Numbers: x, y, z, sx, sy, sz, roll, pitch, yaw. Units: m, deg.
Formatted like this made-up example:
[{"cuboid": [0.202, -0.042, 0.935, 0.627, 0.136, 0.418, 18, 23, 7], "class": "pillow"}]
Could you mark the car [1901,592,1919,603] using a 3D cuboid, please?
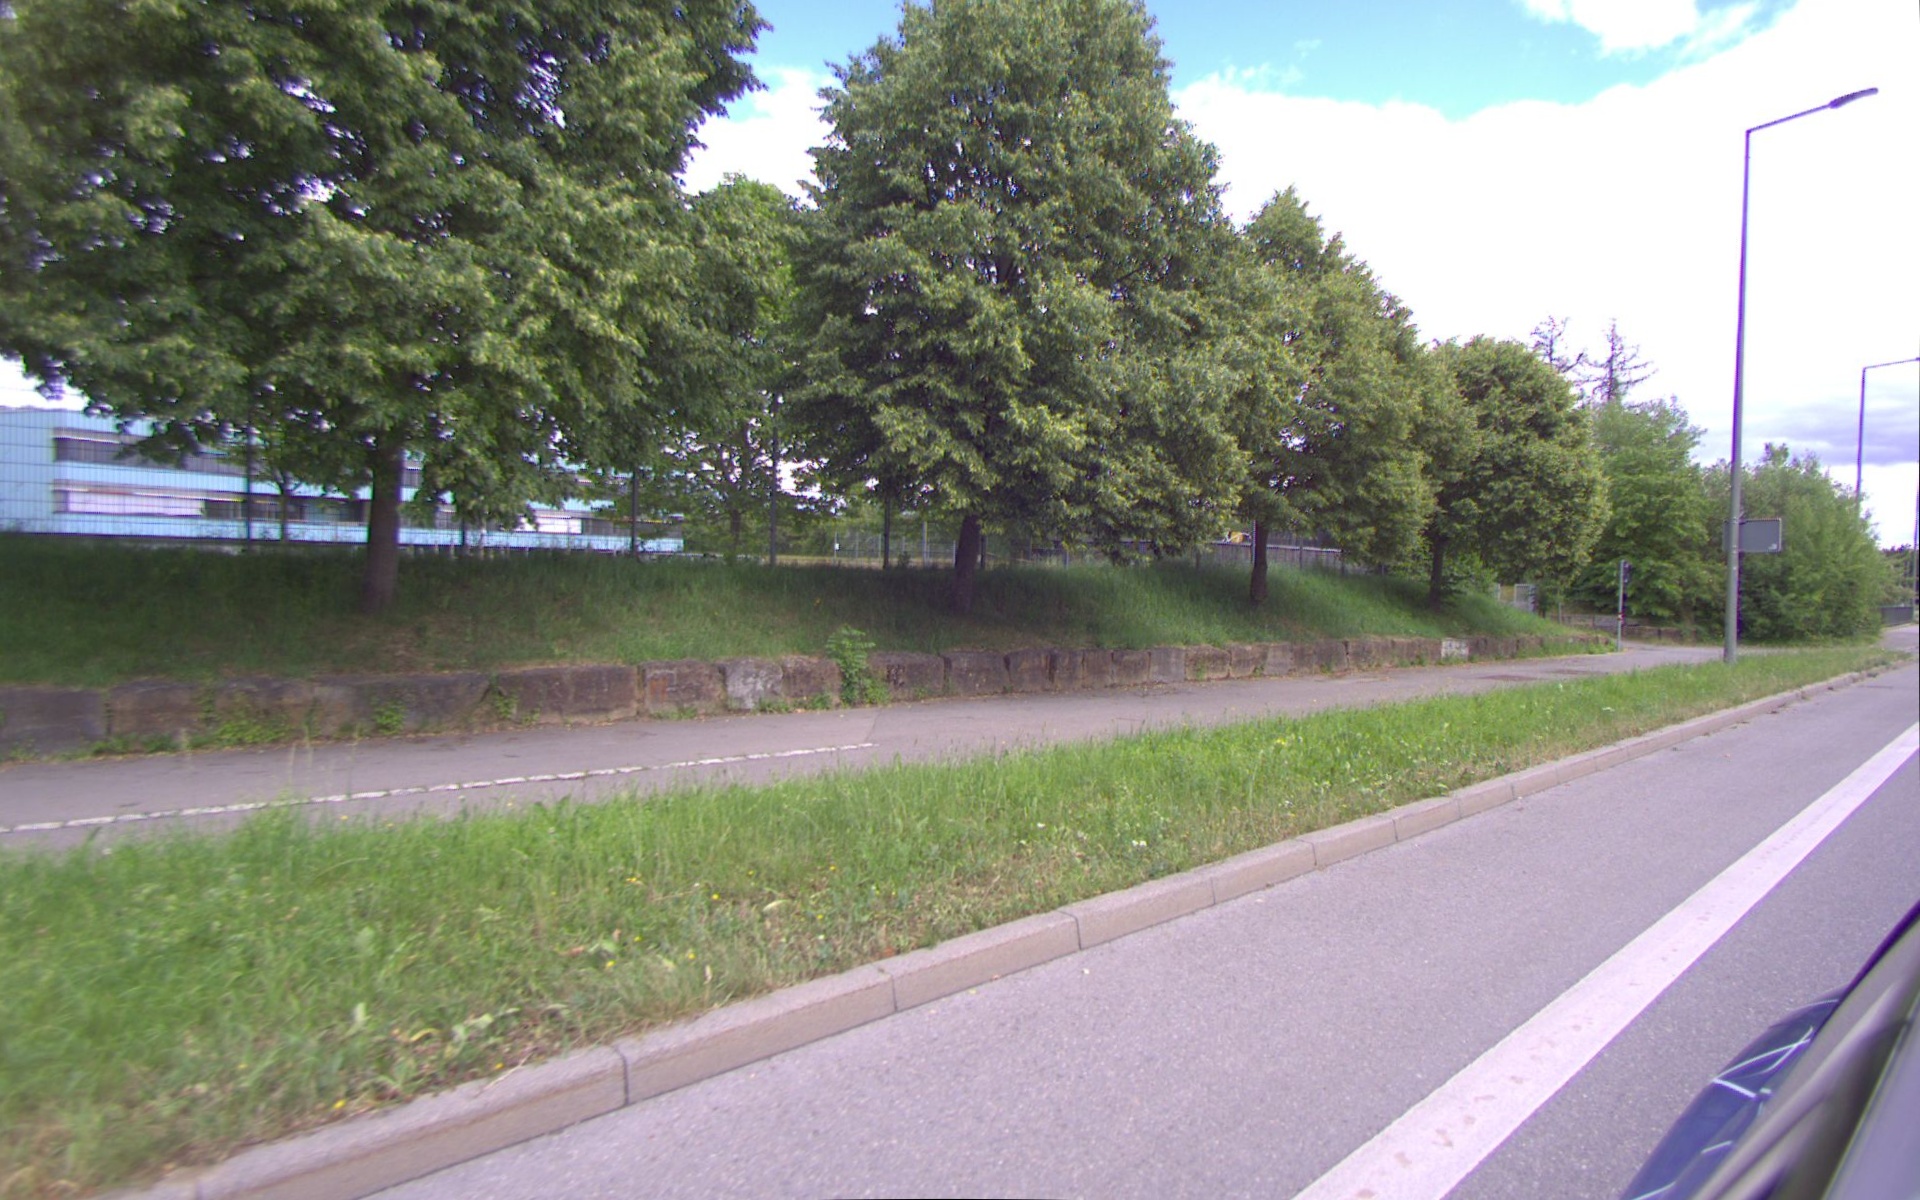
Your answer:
[{"cuboid": [128.125, -0.332, 136.082, 1.726, 1.459, 4.312, 1, 1, 36], "class": "car"}]
